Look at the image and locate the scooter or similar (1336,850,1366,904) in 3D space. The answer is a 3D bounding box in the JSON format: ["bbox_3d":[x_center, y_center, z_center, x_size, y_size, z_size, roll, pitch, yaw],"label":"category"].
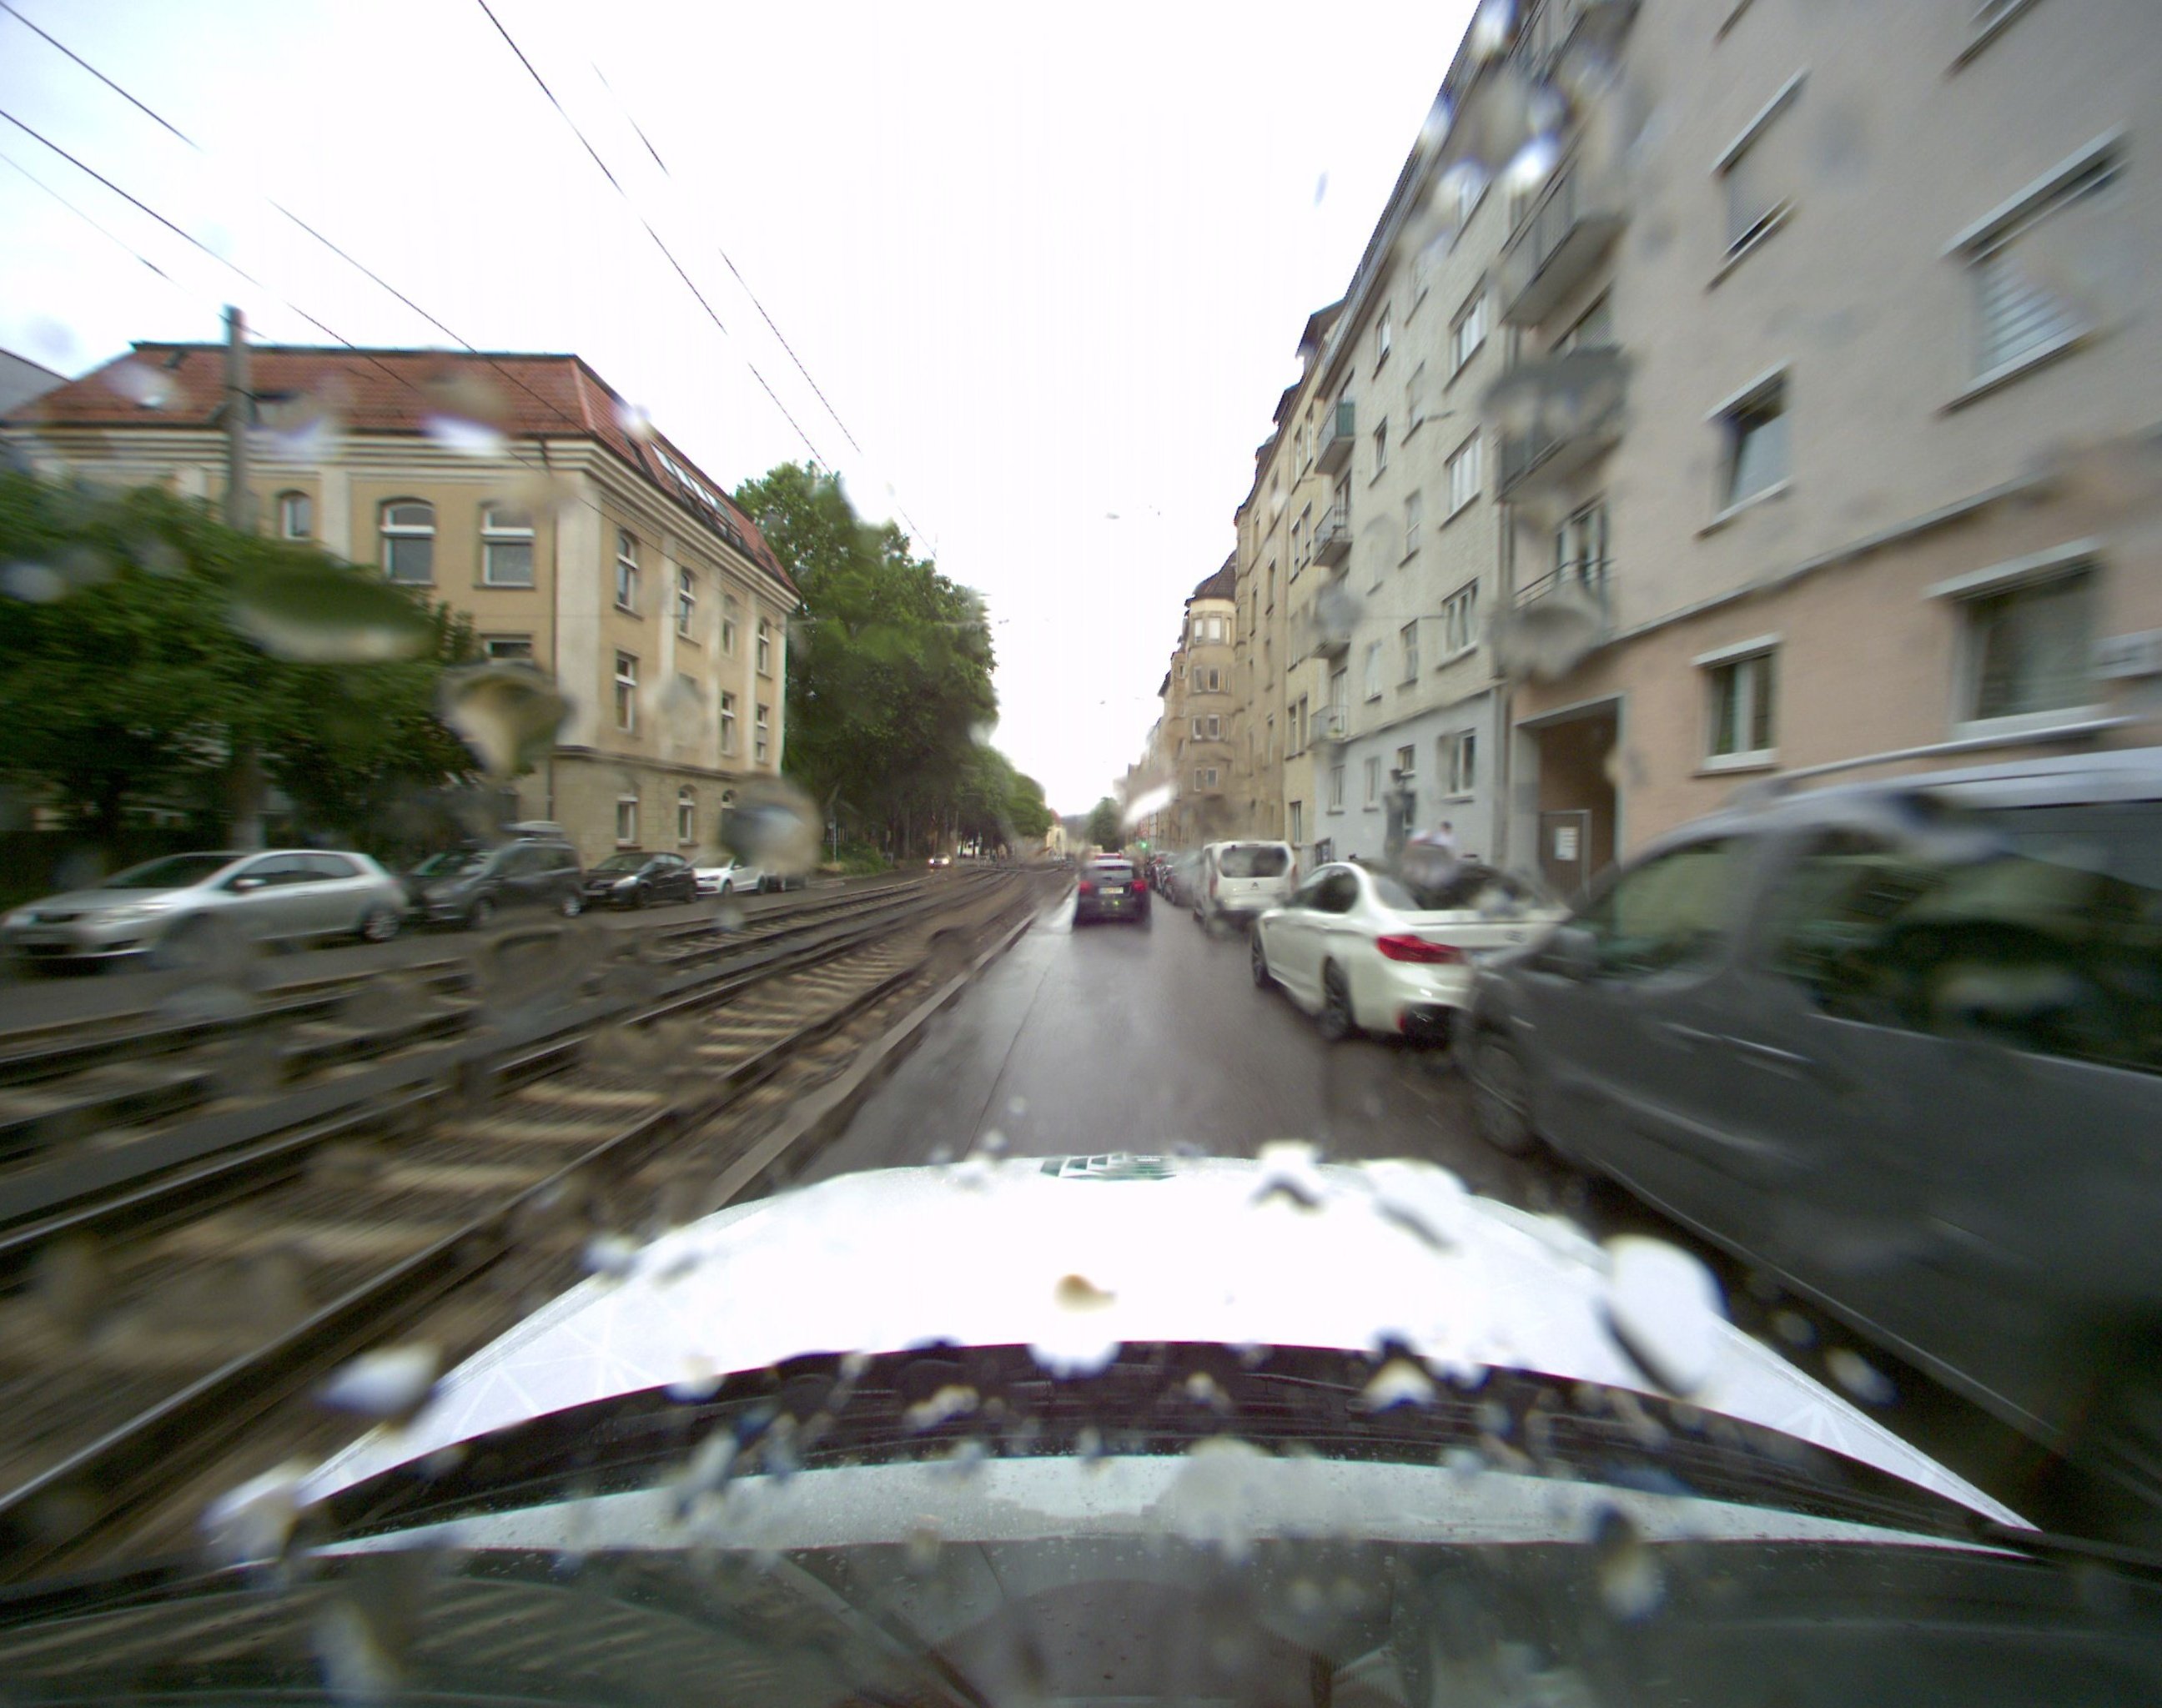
[{"bbox_3d":[6.733,0.556,20.354,0.386,1.297,1.172,-1,0,2],"label":"scooter or similar"}]

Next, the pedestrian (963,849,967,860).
[{"bbox_3d":[-18.882,0.083,132.332,0.551,1.745,0.606,-1,-1,1],"label":"pedestrian"}]

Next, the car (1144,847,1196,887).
[{"bbox_3d":[3.879,0.556,36.075,1.761,1.668,4.330,1,0,-1],"label":"car"}]

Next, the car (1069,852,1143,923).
[{"bbox_3d":[0.558,0.711,19.009,1.575,1.505,3.575,0,0,1],"label":"car"}]

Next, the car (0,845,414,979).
[{"bbox_3d":[-11.927,0.674,11.482,1.534,1.505,4.154,-2,0,1],"label":"car"}]

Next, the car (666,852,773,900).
[{"bbox_3d":[-11.599,0.657,26.394,1.494,1.391,3.990,-2,0,3],"label":"car"}]

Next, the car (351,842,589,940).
[{"bbox_3d":[-11.804,0.650,16.133,1.571,1.643,4.072,-2,0,1],"label":"car"}]

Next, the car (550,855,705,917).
[{"bbox_3d":[-11.770,0.772,21.479,1.668,1.413,4.012,-2,0,3],"label":"car"}]

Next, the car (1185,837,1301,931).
[{"bbox_3d":[3.309,0.567,17.444,1.821,1.750,4.470,0,0,3],"label":"car"}]

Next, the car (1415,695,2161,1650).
[{"bbox_3d":[2.899,0.579,2.818,1.784,1.765,4.212,-1,0,1],"label":"car"}]

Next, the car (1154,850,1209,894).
[{"bbox_3d":[3.702,0.634,30.624,1.687,1.529,4.002,0,0,2],"label":"car"}]

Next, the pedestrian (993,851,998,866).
[{"bbox_3d":[-9.997,0.535,95.261,0.532,1.754,0.607,2,-1,2],"label":"pedestrian"}]

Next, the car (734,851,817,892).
[{"bbox_3d":[-11.522,0.625,30.953,1.608,1.429,3.853,-1,0,1],"label":"car"}]

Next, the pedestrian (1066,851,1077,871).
[{"bbox_3d":[-0.818,0.580,69.686,0.803,1.633,0.892,-2,0,2],"label":"pedestrian"}]

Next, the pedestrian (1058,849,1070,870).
[{"bbox_3d":[-1.620,0.524,77.926,1.135,1.998,1.171,-2,0,-3],"label":"pedestrian"}]

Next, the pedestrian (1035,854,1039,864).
[{"bbox_3d":[-7.918,0.910,146.232,0.516,1.717,0.551,2,-1,1],"label":"pedestrian"}]

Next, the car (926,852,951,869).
[{"bbox_3d":[-13.203,0.600,75.578,1.814,1.505,4.626,0,0,-4],"label":"car"}]

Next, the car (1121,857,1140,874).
[{"bbox_3d":[5.117,1.171,84.835,1.820,1.618,3.865,-2,0,2],"label":"car"}]

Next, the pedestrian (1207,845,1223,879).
[{"bbox_3d":[7.259,0.421,44.130,0.692,1.787,0.758,-2,0,0],"label":"pedestrian"}]

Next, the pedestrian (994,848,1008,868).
[{"bbox_3d":[-6.909,0.317,70.269,1.050,1.718,0.904,1,0,2],"label":"pedestrian"}]

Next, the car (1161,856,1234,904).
[{"bbox_3d":[3.563,0.757,25.530,1.711,1.347,4.462,1,0,1],"label":"car"}]

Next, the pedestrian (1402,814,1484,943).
[{"bbox_3d":[5.466,0.356,12.360,0.743,1.833,1.039,-2,0,3],"label":"pedestrian"}]

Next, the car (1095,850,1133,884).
[{"bbox_3d":[1.591,0.633,40.272,1.779,1.581,4.001,0,0,1],"label":"car"}]

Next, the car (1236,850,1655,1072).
[{"bbox_3d":[2.866,0.696,7.814,1.865,1.455,4.902,0,0,0],"label":"car"}]

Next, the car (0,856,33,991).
[{"bbox_3d":[-12.092,0.747,6.790,1.534,1.413,3.953,-2,0,1],"label":"car"}]
